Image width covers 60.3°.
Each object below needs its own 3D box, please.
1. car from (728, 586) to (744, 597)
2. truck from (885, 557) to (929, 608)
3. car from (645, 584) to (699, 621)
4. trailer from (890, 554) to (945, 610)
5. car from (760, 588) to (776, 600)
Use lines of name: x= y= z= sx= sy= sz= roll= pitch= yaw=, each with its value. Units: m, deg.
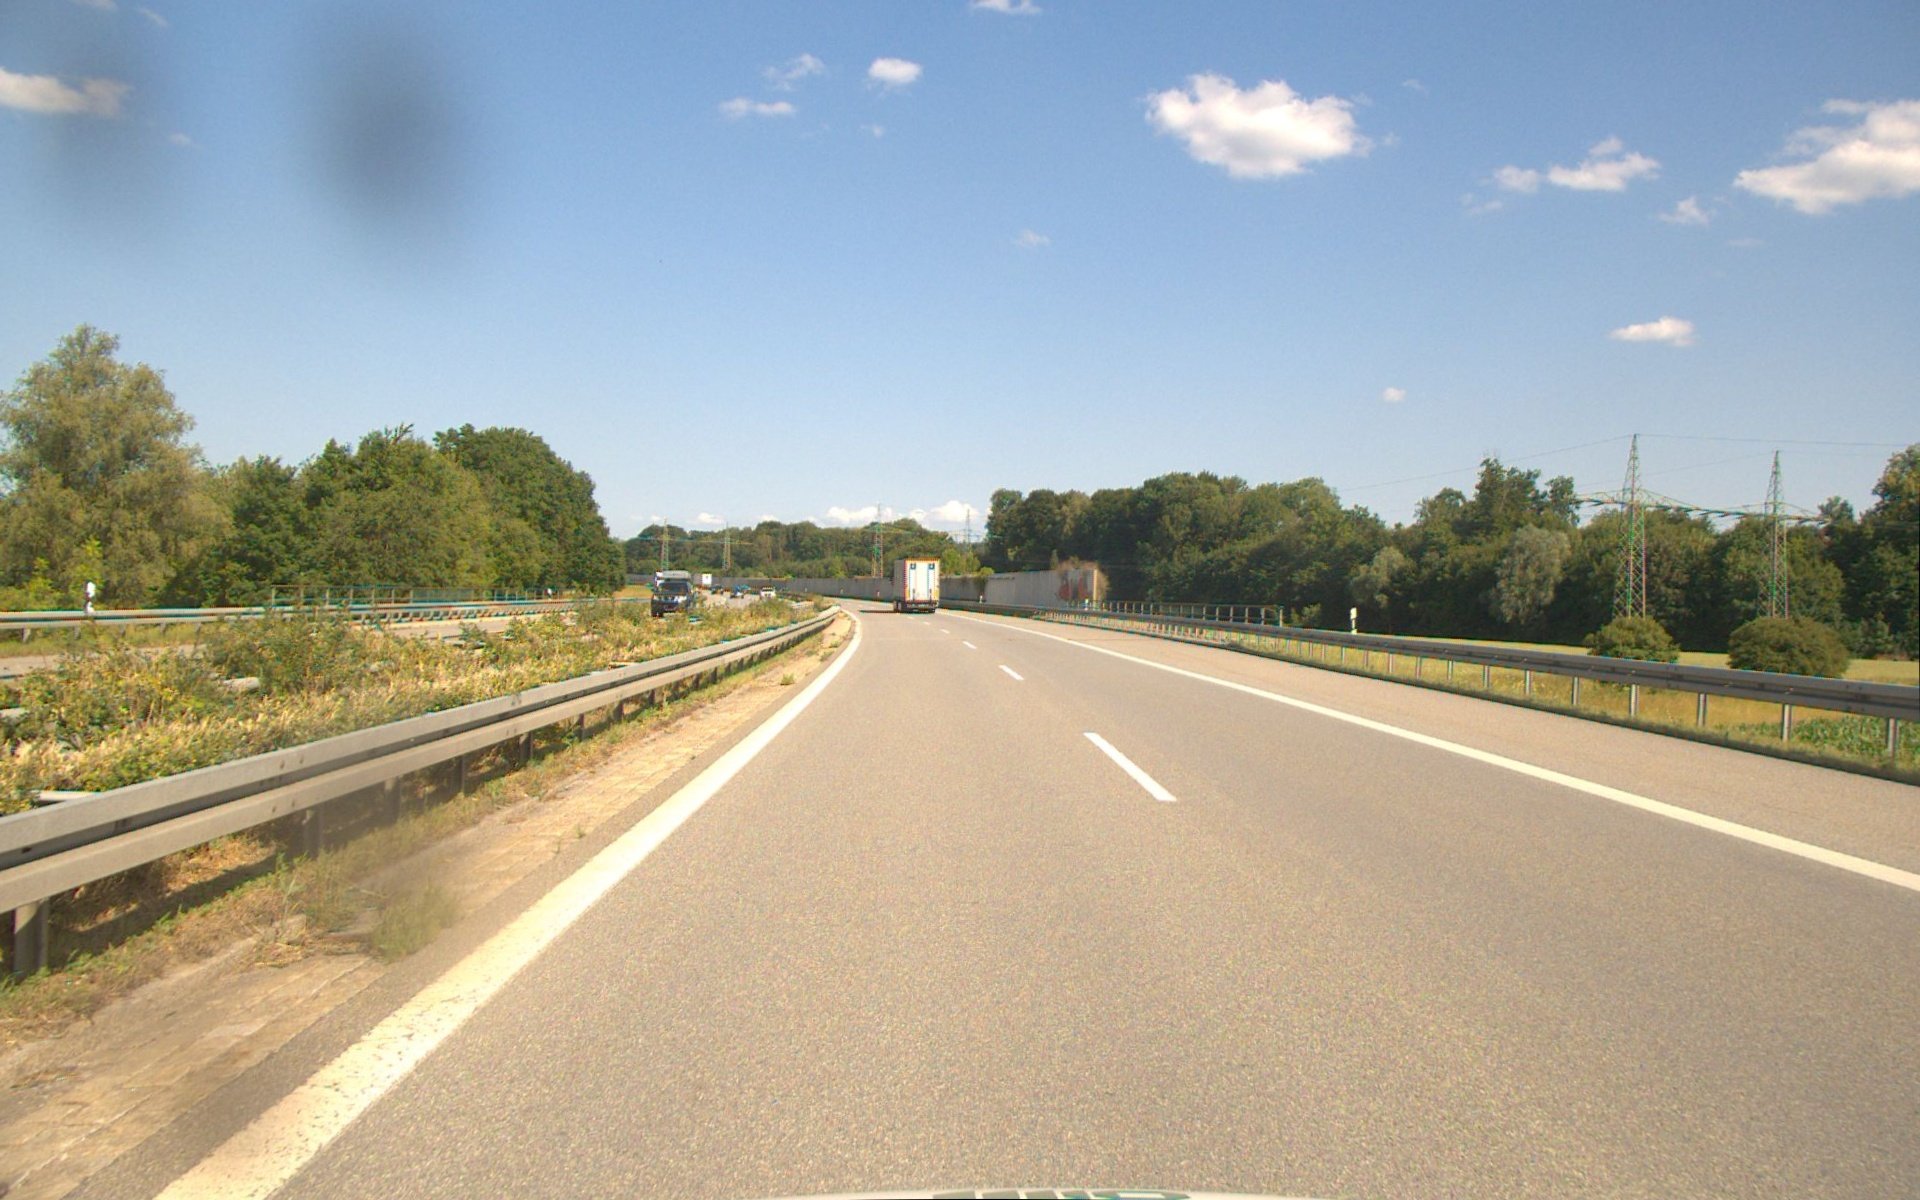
car: x=-29.813 y=-1.157 z=219.749 sx=1.742 sy=1.495 sz=4.493 roll=1 pitch=0 yaw=-12
truck: x=-4.376 y=-1.397 z=135.302 sx=2.779 sy=4.082 sz=6.571 roll=0 pitch=0 yaw=-10
car: x=-14.035 y=0.088 z=80.894 sx=1.954 sy=1.708 sz=5.314 roll=-1 pitch=0 yaw=-3
trailer: x=-3.440 y=-1.390 z=129.246 sx=2.830 sy=4.137 sz=12.396 roll=0 pitch=0 yaw=-8
car: x=-23.861 y=-0.788 z=205.323 sx=1.787 sy=1.459 sz=4.640 roll=1 pitch=0 yaw=-9
